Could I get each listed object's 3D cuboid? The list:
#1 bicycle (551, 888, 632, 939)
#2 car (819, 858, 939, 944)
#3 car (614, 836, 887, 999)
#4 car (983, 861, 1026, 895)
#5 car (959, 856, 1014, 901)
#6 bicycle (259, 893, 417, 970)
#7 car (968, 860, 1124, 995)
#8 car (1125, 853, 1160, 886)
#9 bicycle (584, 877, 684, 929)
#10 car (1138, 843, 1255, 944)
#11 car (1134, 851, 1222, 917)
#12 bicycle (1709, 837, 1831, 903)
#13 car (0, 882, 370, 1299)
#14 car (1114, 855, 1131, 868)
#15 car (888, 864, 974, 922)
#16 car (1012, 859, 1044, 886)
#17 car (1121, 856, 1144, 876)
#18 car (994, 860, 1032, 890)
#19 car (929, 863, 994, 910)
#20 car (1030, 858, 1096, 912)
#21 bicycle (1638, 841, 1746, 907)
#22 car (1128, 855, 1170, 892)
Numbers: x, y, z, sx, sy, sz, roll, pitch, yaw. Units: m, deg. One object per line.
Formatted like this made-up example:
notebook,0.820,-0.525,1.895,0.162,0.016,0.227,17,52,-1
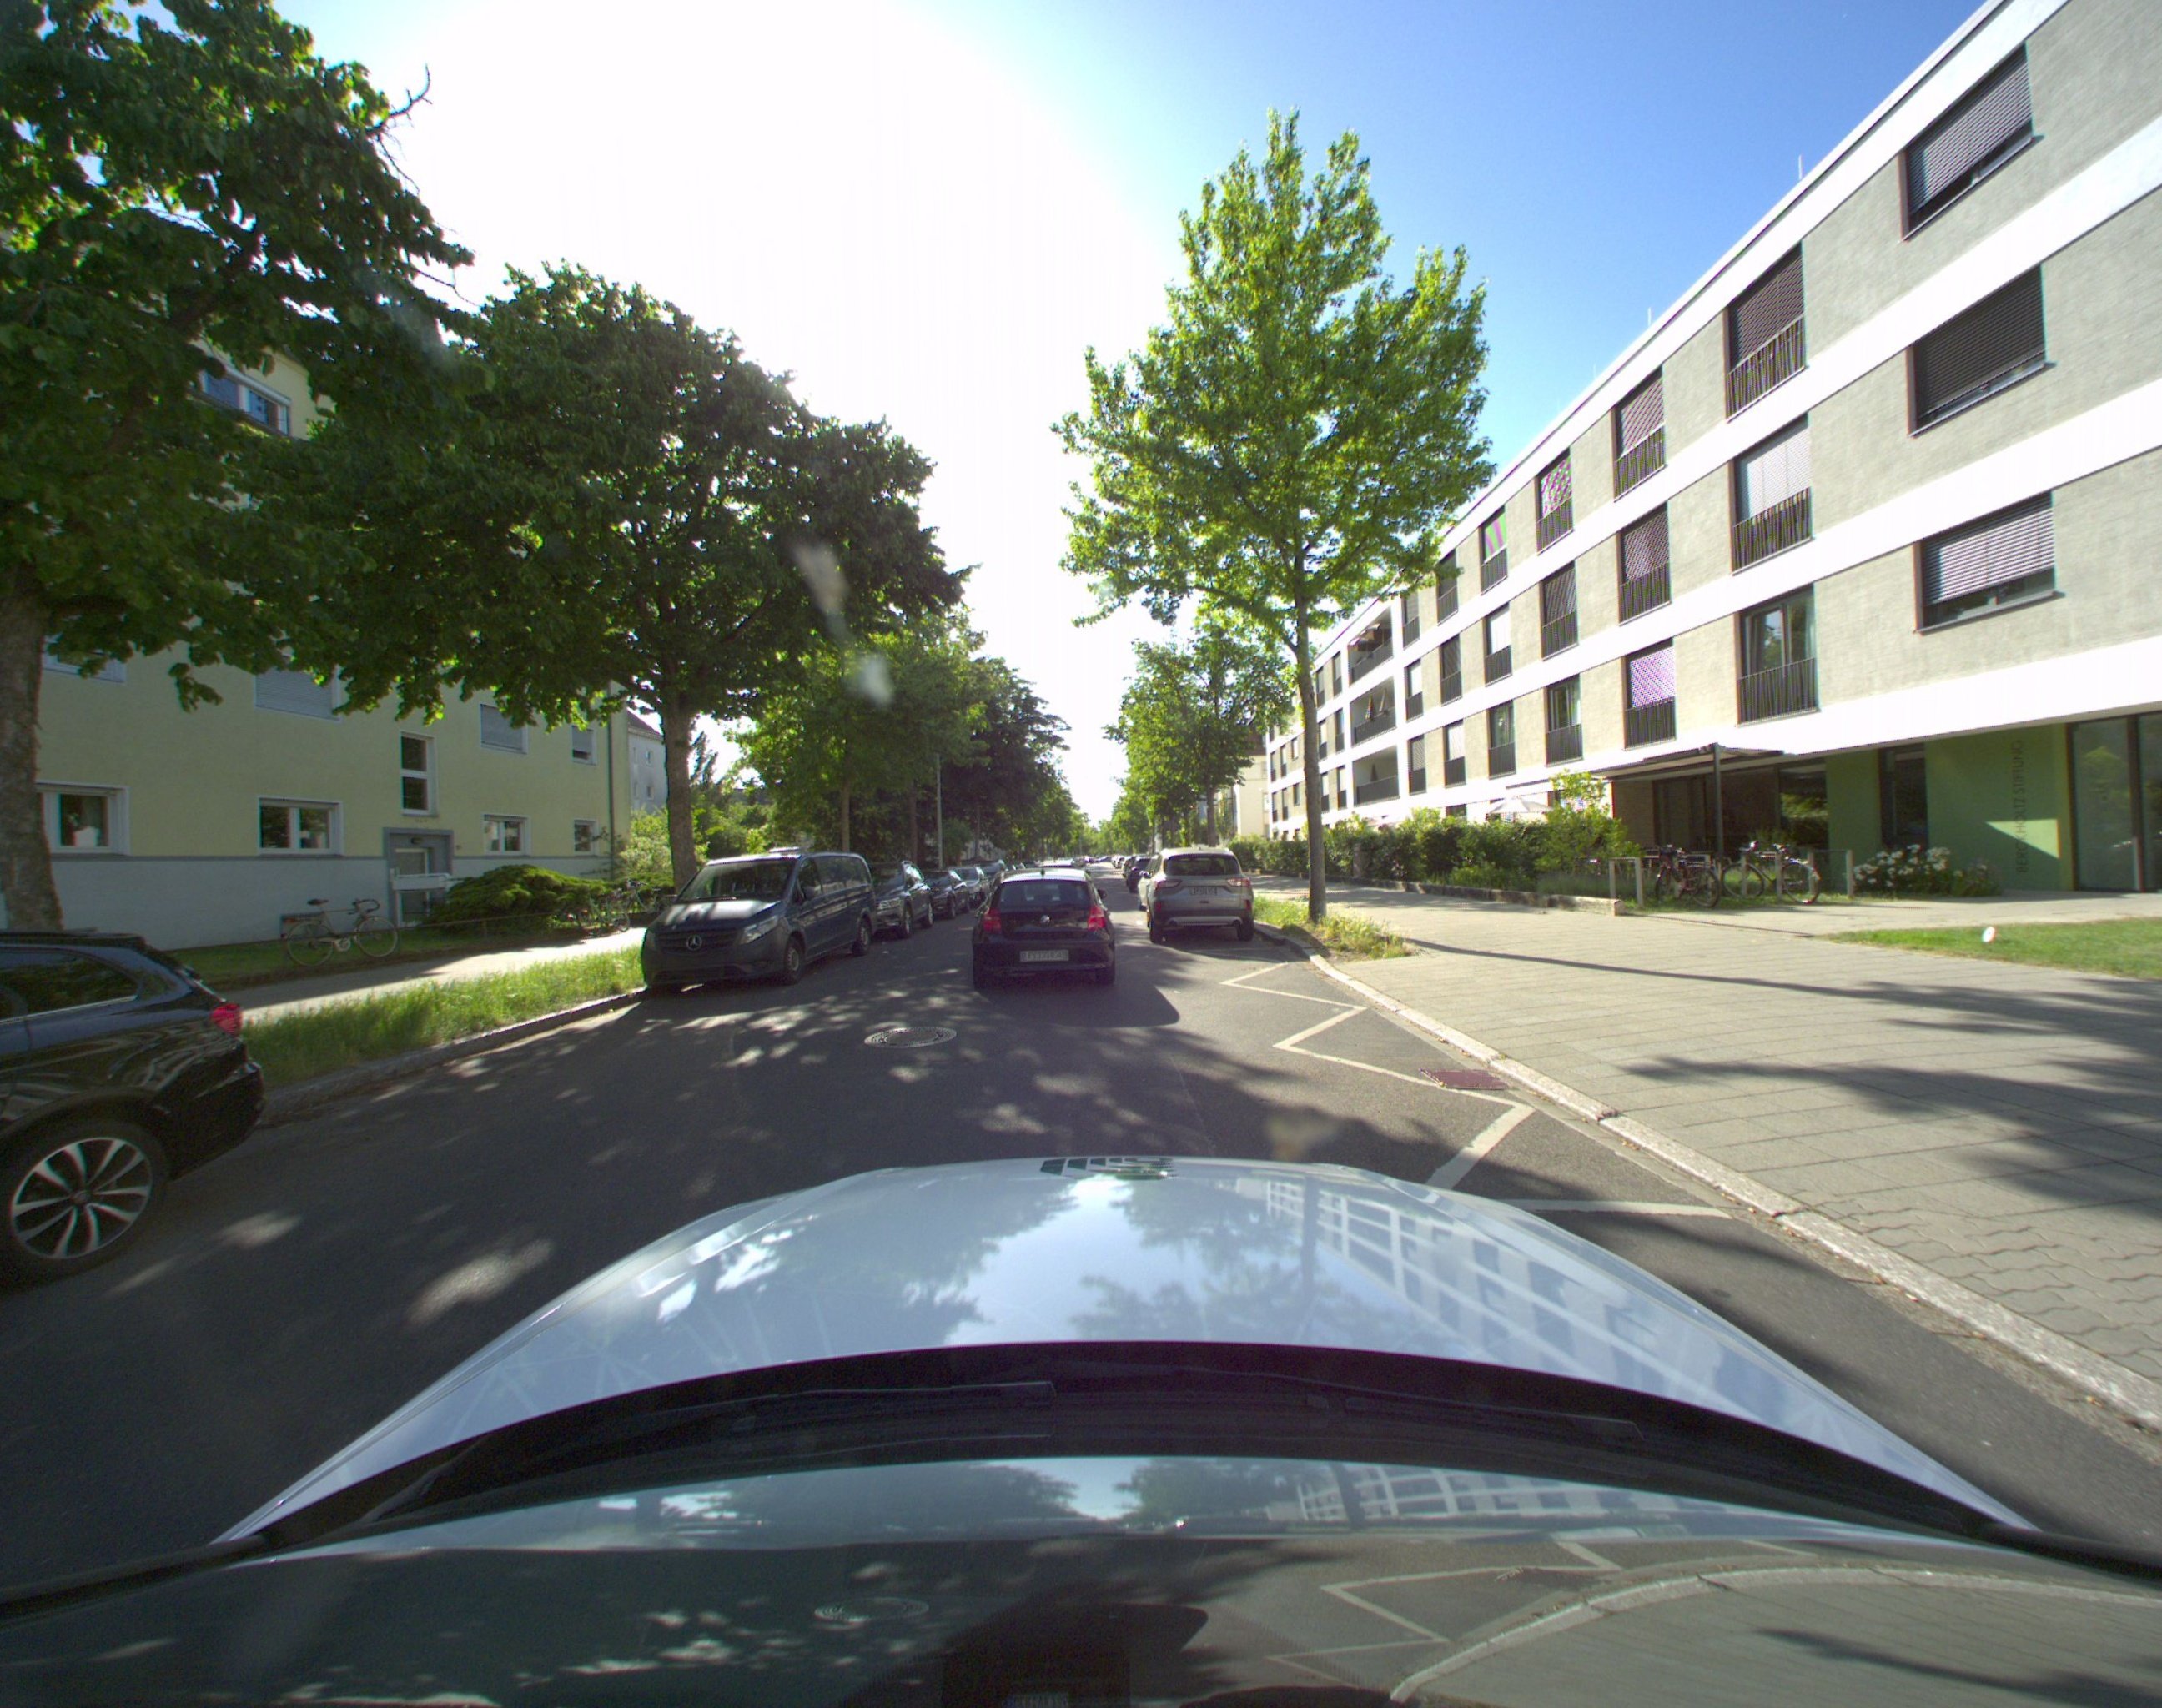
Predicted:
bicycle,-11.147,1.327,18.639,0.592,0.991,1.929,-3,0,2
car,-4.411,0.952,18.435,1.607,1.611,4.228,-3,0,-1
car,-4.689,0.789,12.607,1.819,1.904,5.145,-4,0,2
car,-3.707,1.131,39.978,1.606,1.452,3.866,-3,0,1
car,-3.907,0.968,34.277,1.606,1.679,4.235,-3,0,1
bicycle,-11.481,1.156,12.683,0.592,0.991,1.929,-3,0,2
car,-0.608,0.823,10.783,1.649,1.397,3.401,-3,0,-9
car,3.126,0.774,41.893,1.714,1.641,3.854,0,0,3
bicycle,-11.784,1.285,21.525,2.145,1.208,0.688,-3,0,-10
car,2.075,0.685,15.762,1.840,1.631,4.414,-1,-1,3
car,2.448,0.732,21.452,1.689,1.524,3.997,-2,0,-2
bicycle,11.941,0.269,14.196,0.544,1.055,1.779,-3,0,-1
car,-4.948,0.981,2.298,1.502,1.548,4.779,-5,0,1
car,4.961,0.849,97.088,1.713,1.480,3.856,-3,0,5
car,-4.264,1.065,23.743,1.606,1.427,4.059,-3,0,1
car,-3.304,1.135,51.500,1.606,1.543,3.866,-3,0,1
car,3.900,0.880,61.794,1.714,1.480,3.854,0,0,3
car,-3.678,1.127,44.591,1.606,1.452,3.866,-3,0,1
car,-4.157,1.102,28.837,1.606,1.427,3.726,-3,0,1
car,-0.461,0.888,24.962,1.642,1.425,4.005,-3,0,3
bicycle,10.583,0.332,14.182,0.544,1.055,1.691,-3,0,-1
car,2.960,0.812,35.885,1.714,1.528,4.003,0,0,3
